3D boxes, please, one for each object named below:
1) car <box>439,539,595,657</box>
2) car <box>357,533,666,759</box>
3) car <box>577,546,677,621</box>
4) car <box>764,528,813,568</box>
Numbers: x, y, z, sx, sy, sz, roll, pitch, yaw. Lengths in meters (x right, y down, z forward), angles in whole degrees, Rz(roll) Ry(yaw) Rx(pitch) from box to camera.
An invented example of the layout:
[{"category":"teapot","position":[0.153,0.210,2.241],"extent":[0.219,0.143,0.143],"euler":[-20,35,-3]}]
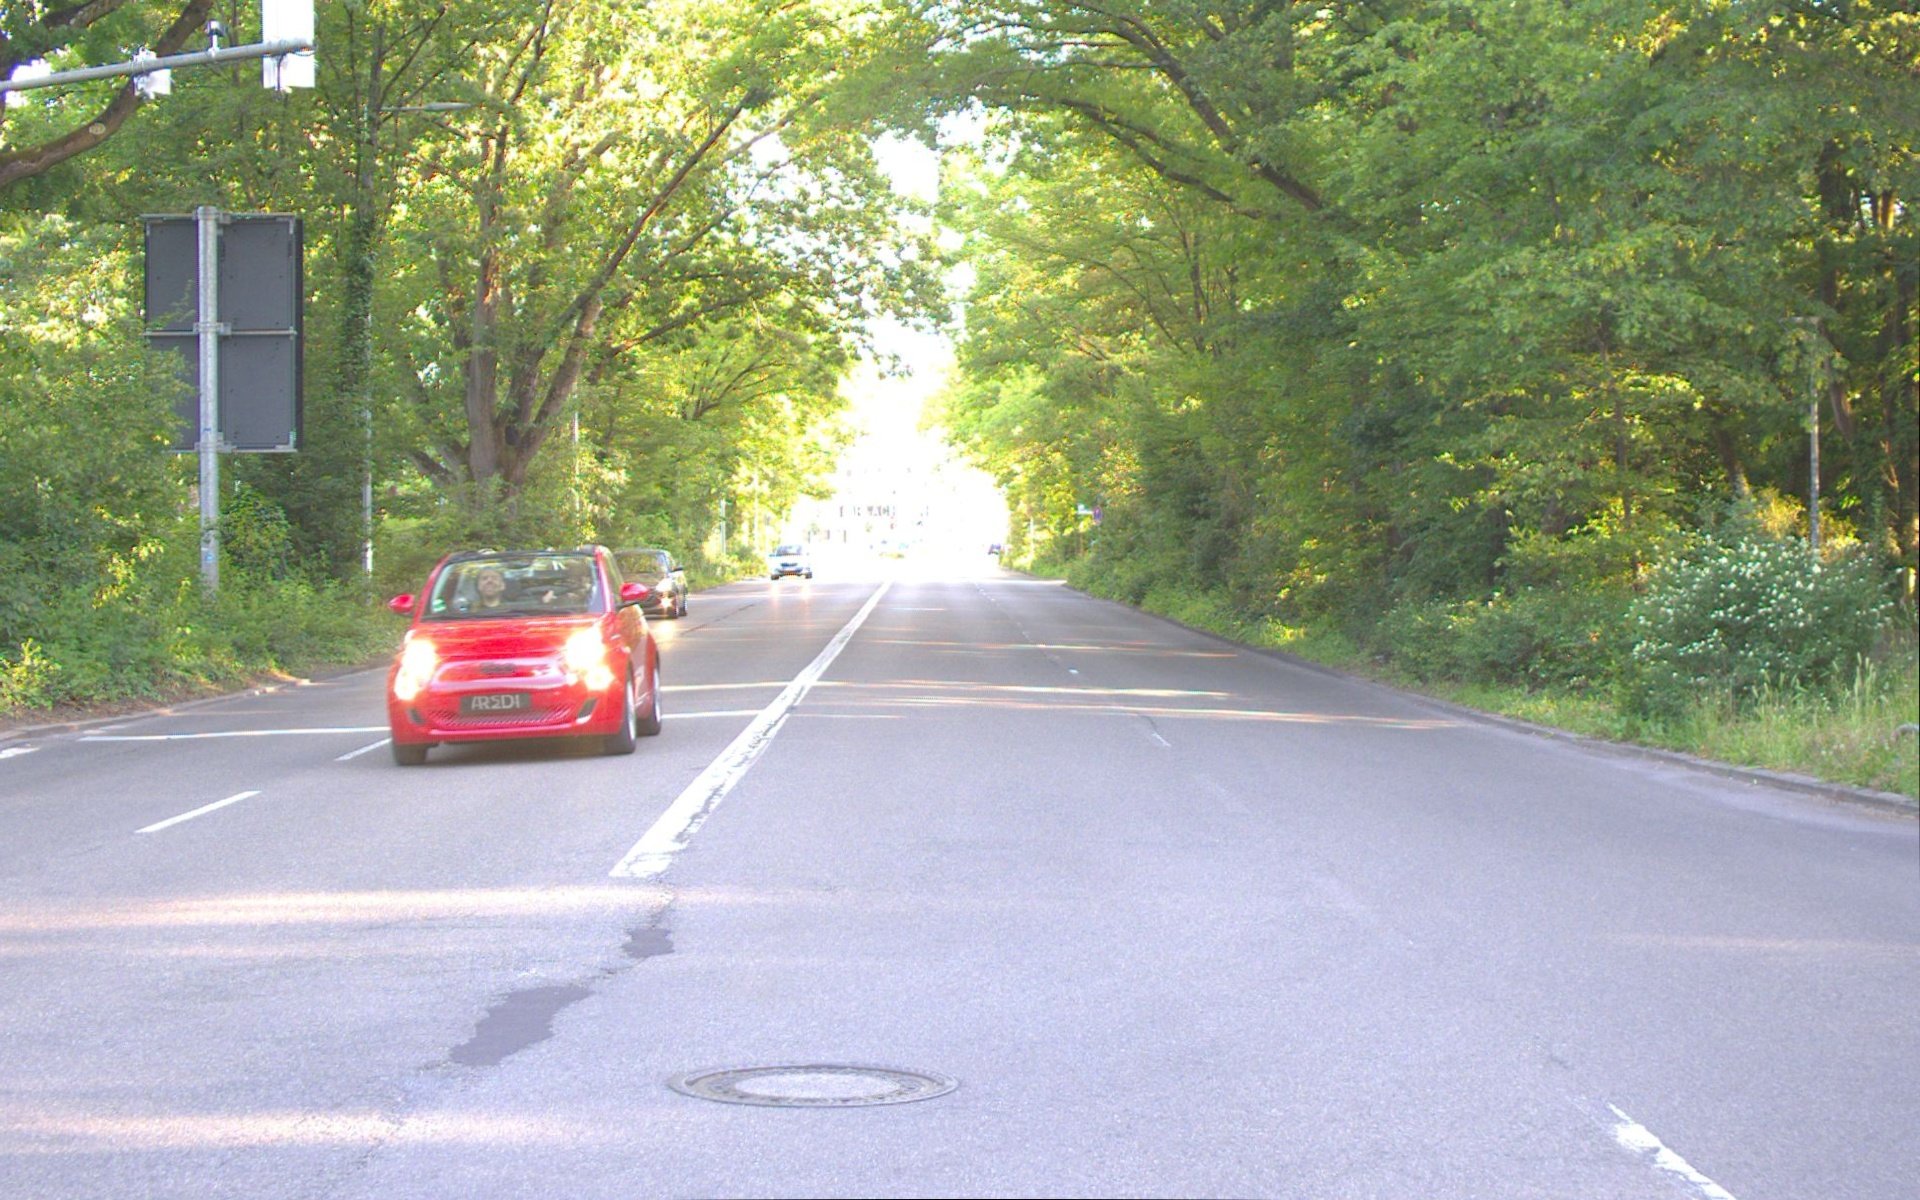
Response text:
[{"category":"car","position":[-6.194,-0.062,48.433],"extent":[1.677,1.518,3.902],"euler":[-2,1,-1]},{"category":"car","position":[-3.180,0.289,24.989],"extent":[1.750,1.451,3.640],"euler":[-2,1,-1]},{"category":"car","position":[-6.956,-0.368,72.100],"extent":[1.707,1.448,3.640],"euler":[-2,1,-1]},{"category":"car","position":[-7.154,-2.177,143.846],"extent":[1.806,1.574,4.319],"euler":[-2,1,-1]}]
